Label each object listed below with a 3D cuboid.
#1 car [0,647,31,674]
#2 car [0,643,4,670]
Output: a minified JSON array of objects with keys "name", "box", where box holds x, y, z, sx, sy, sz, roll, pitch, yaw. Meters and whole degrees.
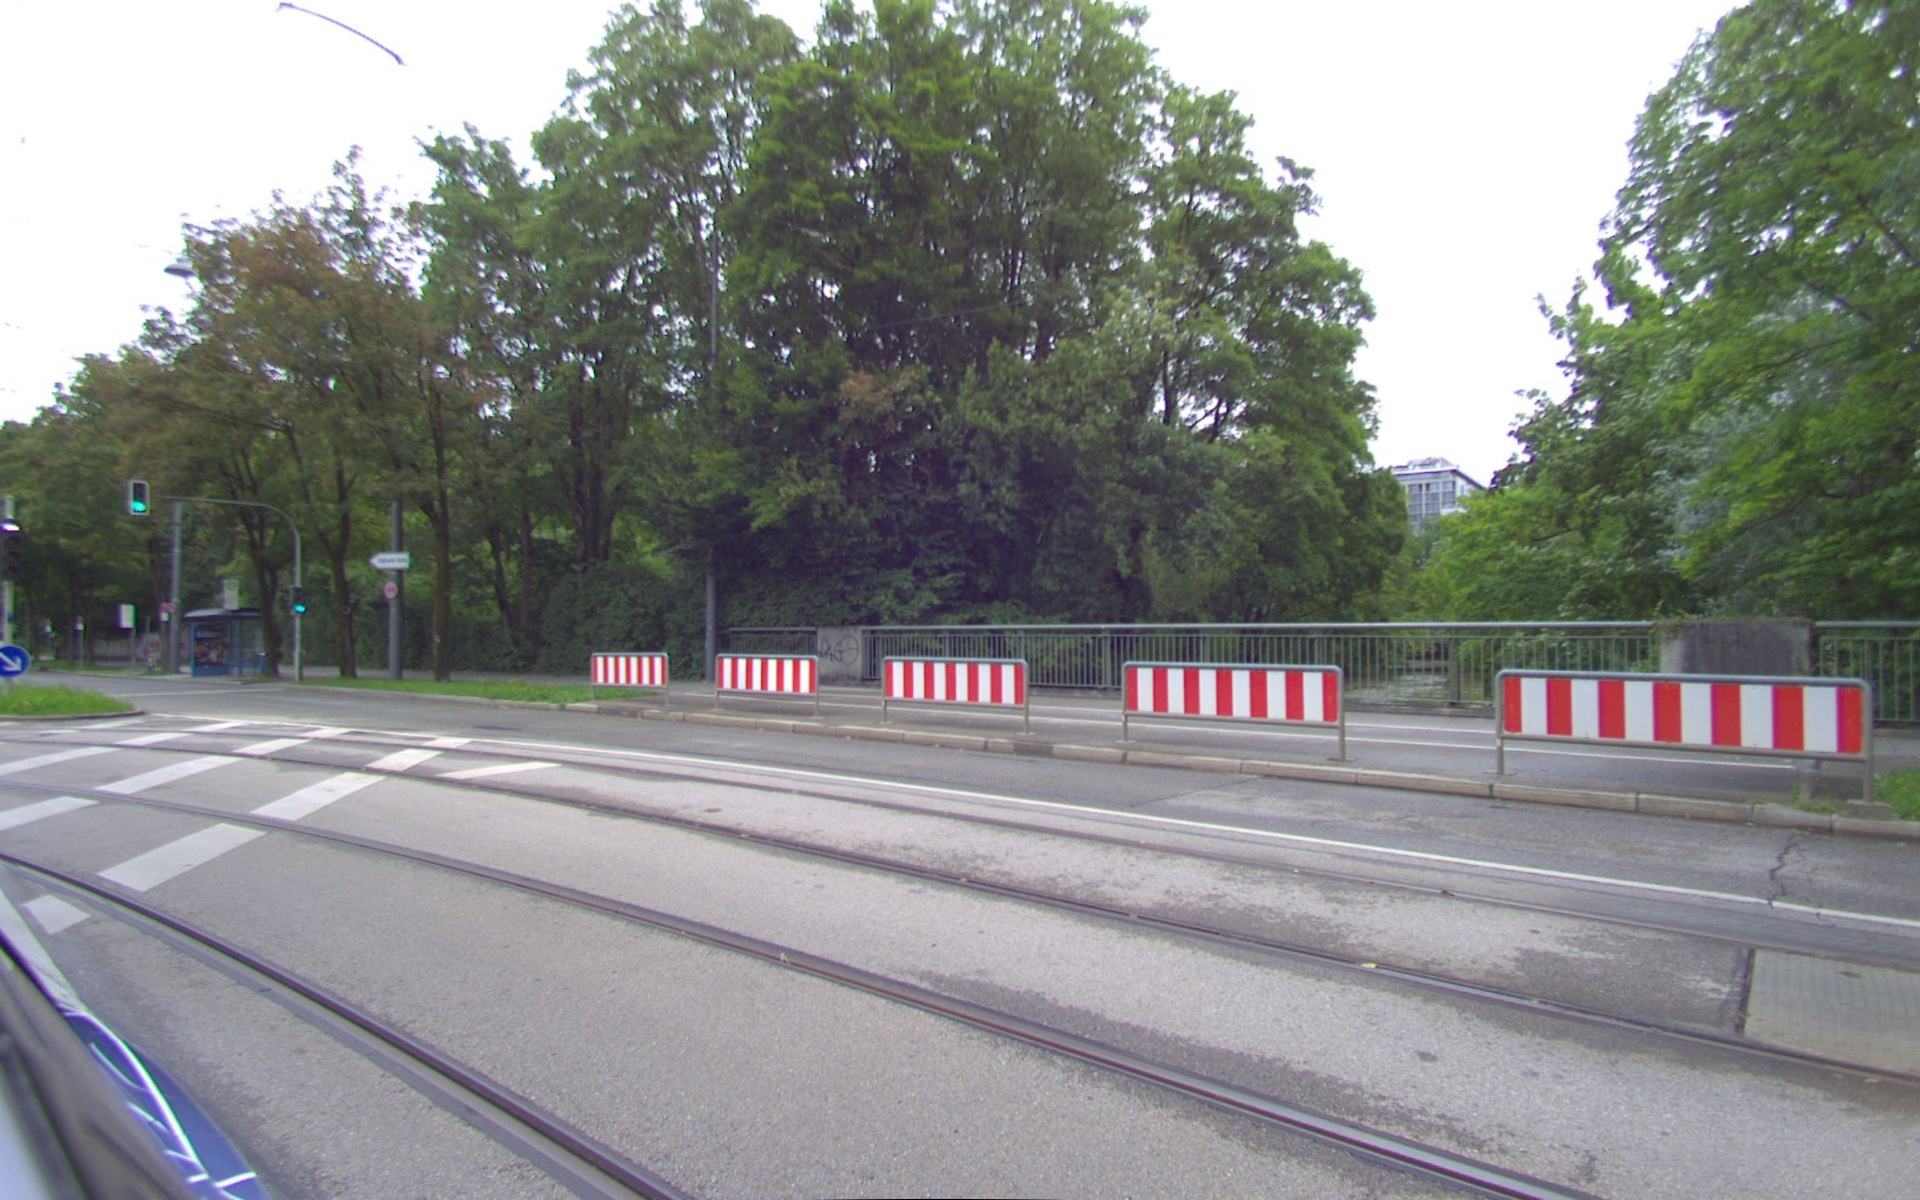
[{"name":"car","box":[-60.247,3.806,63.859,3.996,1.552,1.864,-1,0,40]},{"name":"car","box":[-64.727,3.763,66.831,3.996,1.739,1.864,-1,0,40]}]
